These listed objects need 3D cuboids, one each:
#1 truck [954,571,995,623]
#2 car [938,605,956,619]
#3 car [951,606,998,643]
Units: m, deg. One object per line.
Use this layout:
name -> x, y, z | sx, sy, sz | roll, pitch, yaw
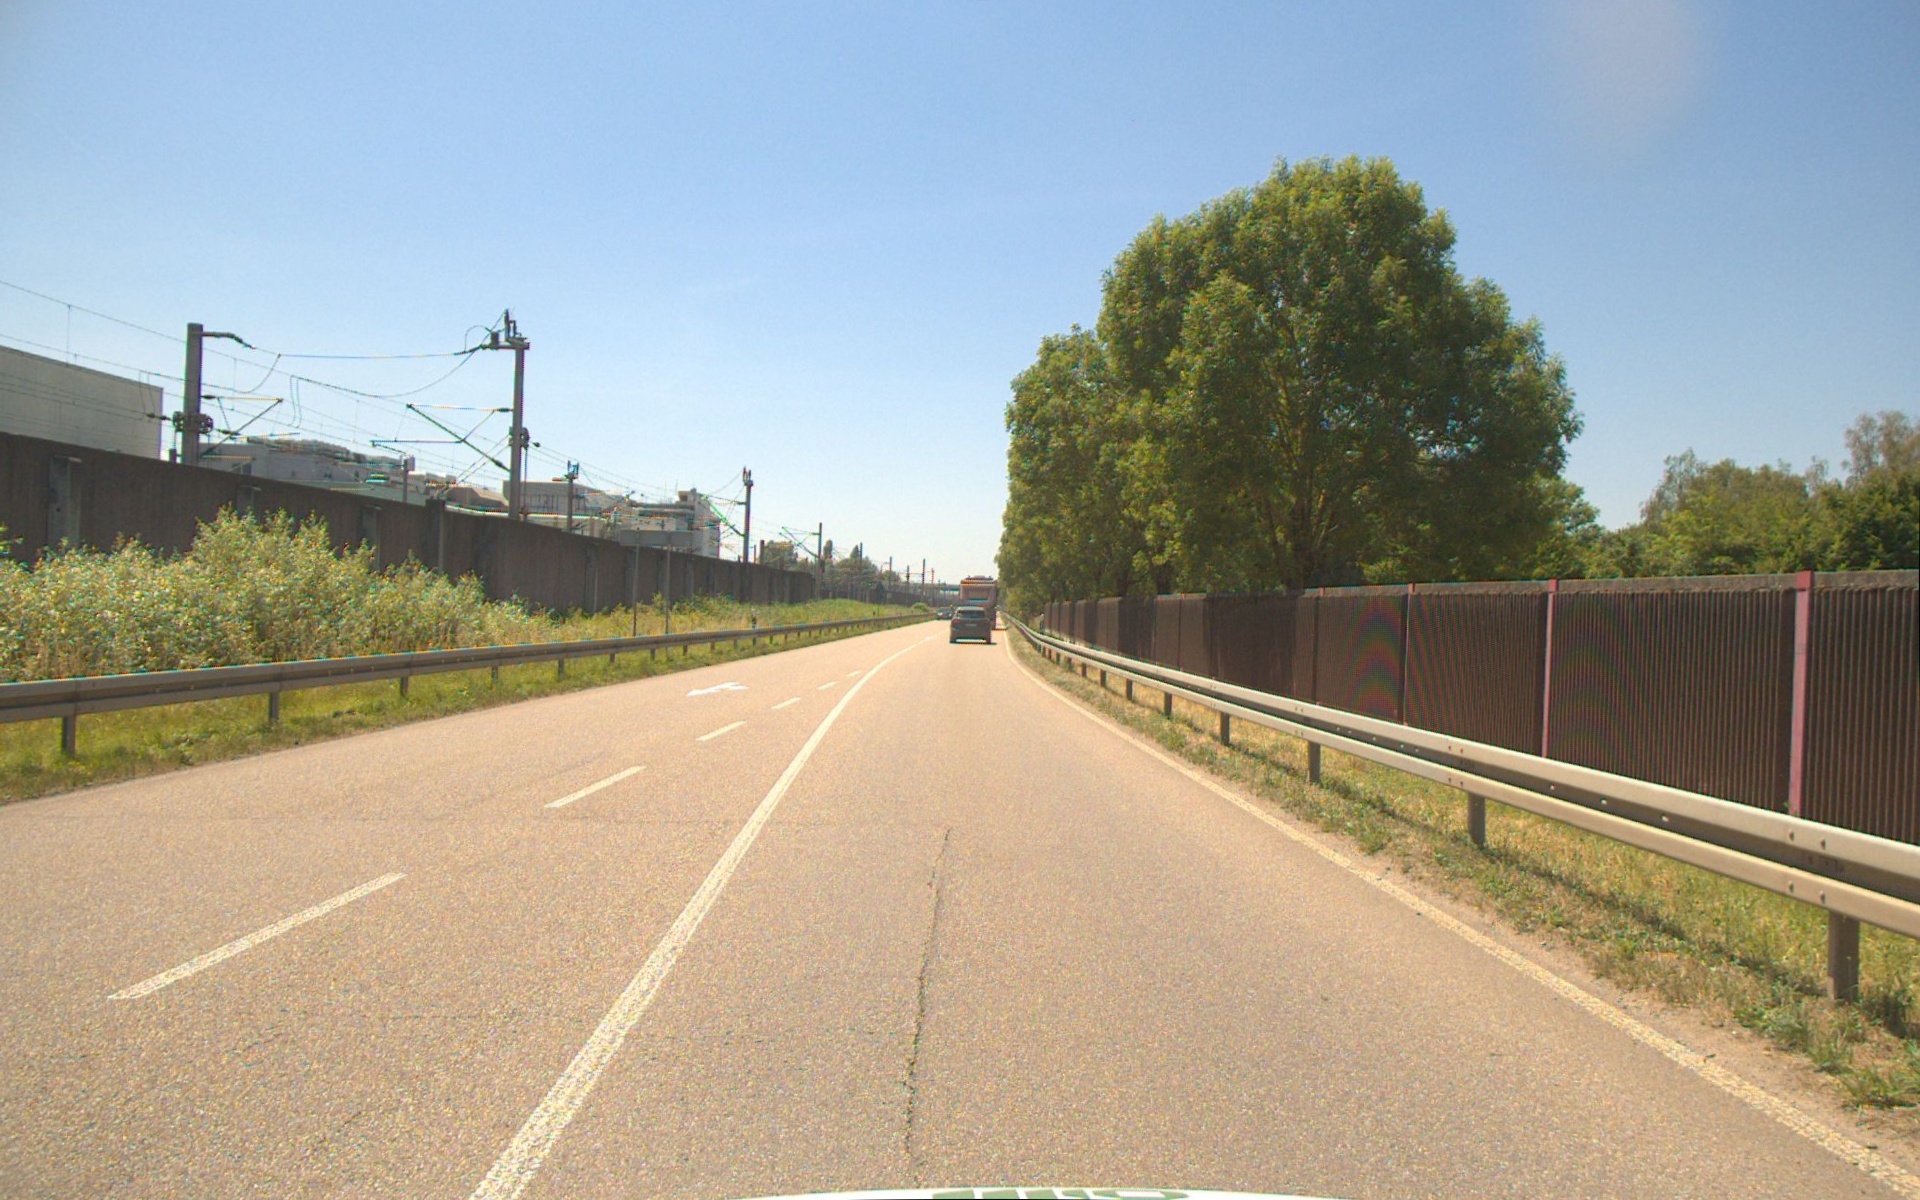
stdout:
truck -> 1.070, -0.148, 117.255 | 2.713, 3.485, 10.820 | 1, -1, 1
car -> -1.457, 1.350, 186.999 | 1.952, 1.534, 4.001 | 1, 0, 2
car -> 0.615, 1.049, 72.349 | 1.953, 1.534, 3.999 | 1, 0, -1
